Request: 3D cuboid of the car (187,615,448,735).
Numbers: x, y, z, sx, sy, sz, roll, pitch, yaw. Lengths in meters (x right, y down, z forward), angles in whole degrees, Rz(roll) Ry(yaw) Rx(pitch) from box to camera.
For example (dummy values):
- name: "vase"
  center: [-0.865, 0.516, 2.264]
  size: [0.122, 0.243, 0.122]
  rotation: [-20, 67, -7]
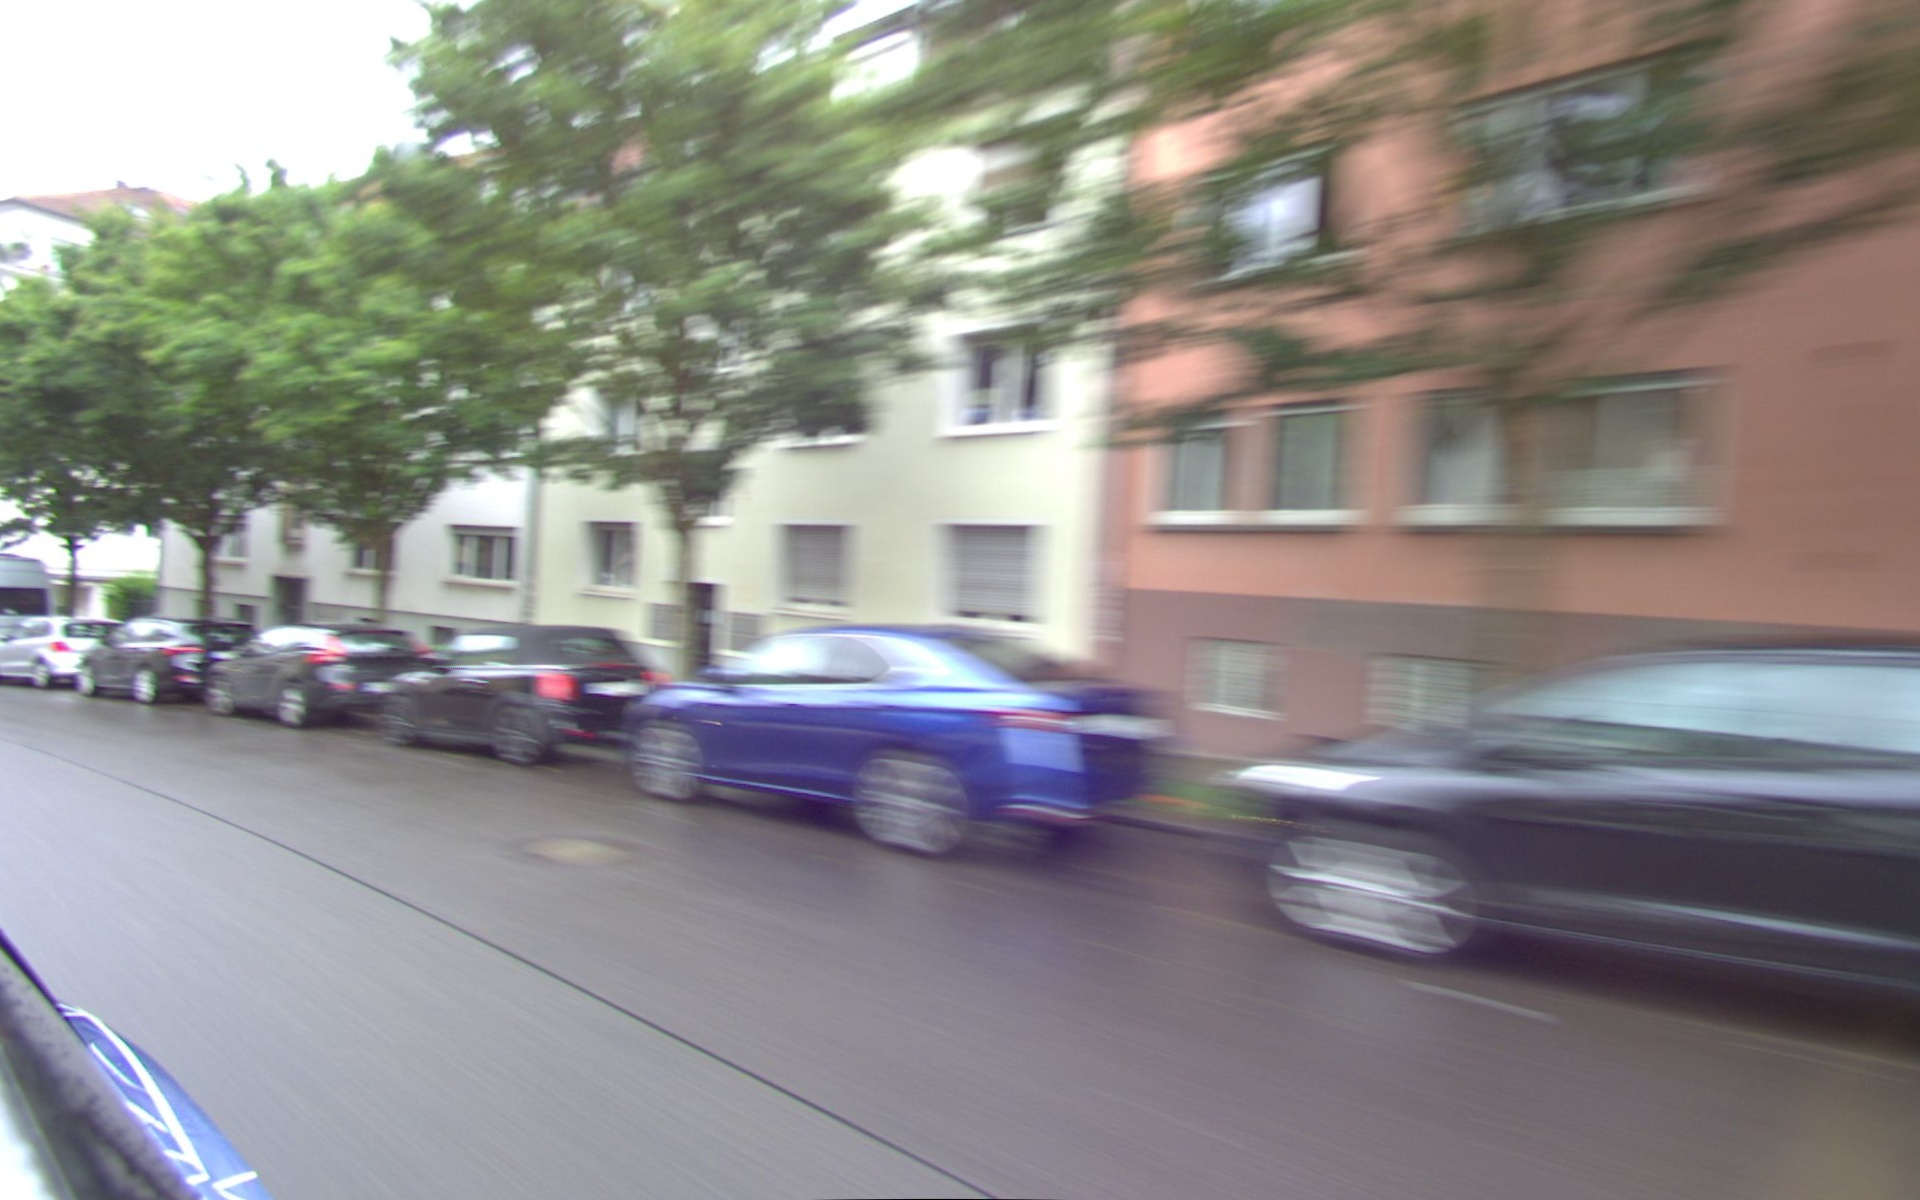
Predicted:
- name: "car"
  center: [-9.570, 0.983, 14.933]
  size: [4.637, 1.504, 1.770]
  rotation: [-1, -1, 38]

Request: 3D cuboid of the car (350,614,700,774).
- name: "car"
  center: [-5.091, 0.940, 11.607]
  size: [4.354, 1.504, 1.770]
  rotation: [-1, -2, 37]

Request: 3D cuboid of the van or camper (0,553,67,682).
- name: "van or camper"
  center: [-23.940, 0.418, 24.085]
  size: [5.720, 2.881, 2.054]
  rotation: [-1, -3, 28]

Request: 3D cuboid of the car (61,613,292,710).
- name: "car"
  center: [-13.838, 1.023, 17.816]
  size: [4.484, 1.504, 1.773]
  rotation: [-1, -3, 33]

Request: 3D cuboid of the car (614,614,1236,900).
- name: "car"
  center: [-0.559, 0.888, 7.657]
  size: [4.861, 1.504, 1.768]
  rotation: [-1, -2, 42]

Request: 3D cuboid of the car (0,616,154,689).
- name: "car"
  center: [-18.881, 1.052, 21.204]
  size: [4.026, 1.420, 1.577]
  rotation: [-1, -2, 27]

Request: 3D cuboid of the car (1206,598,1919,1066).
- name: "car"
  center: [3.411, 0.774, 4.160]
  size: [4.358, 1.504, 1.769]
  rotation: [-1, -2, 40]
